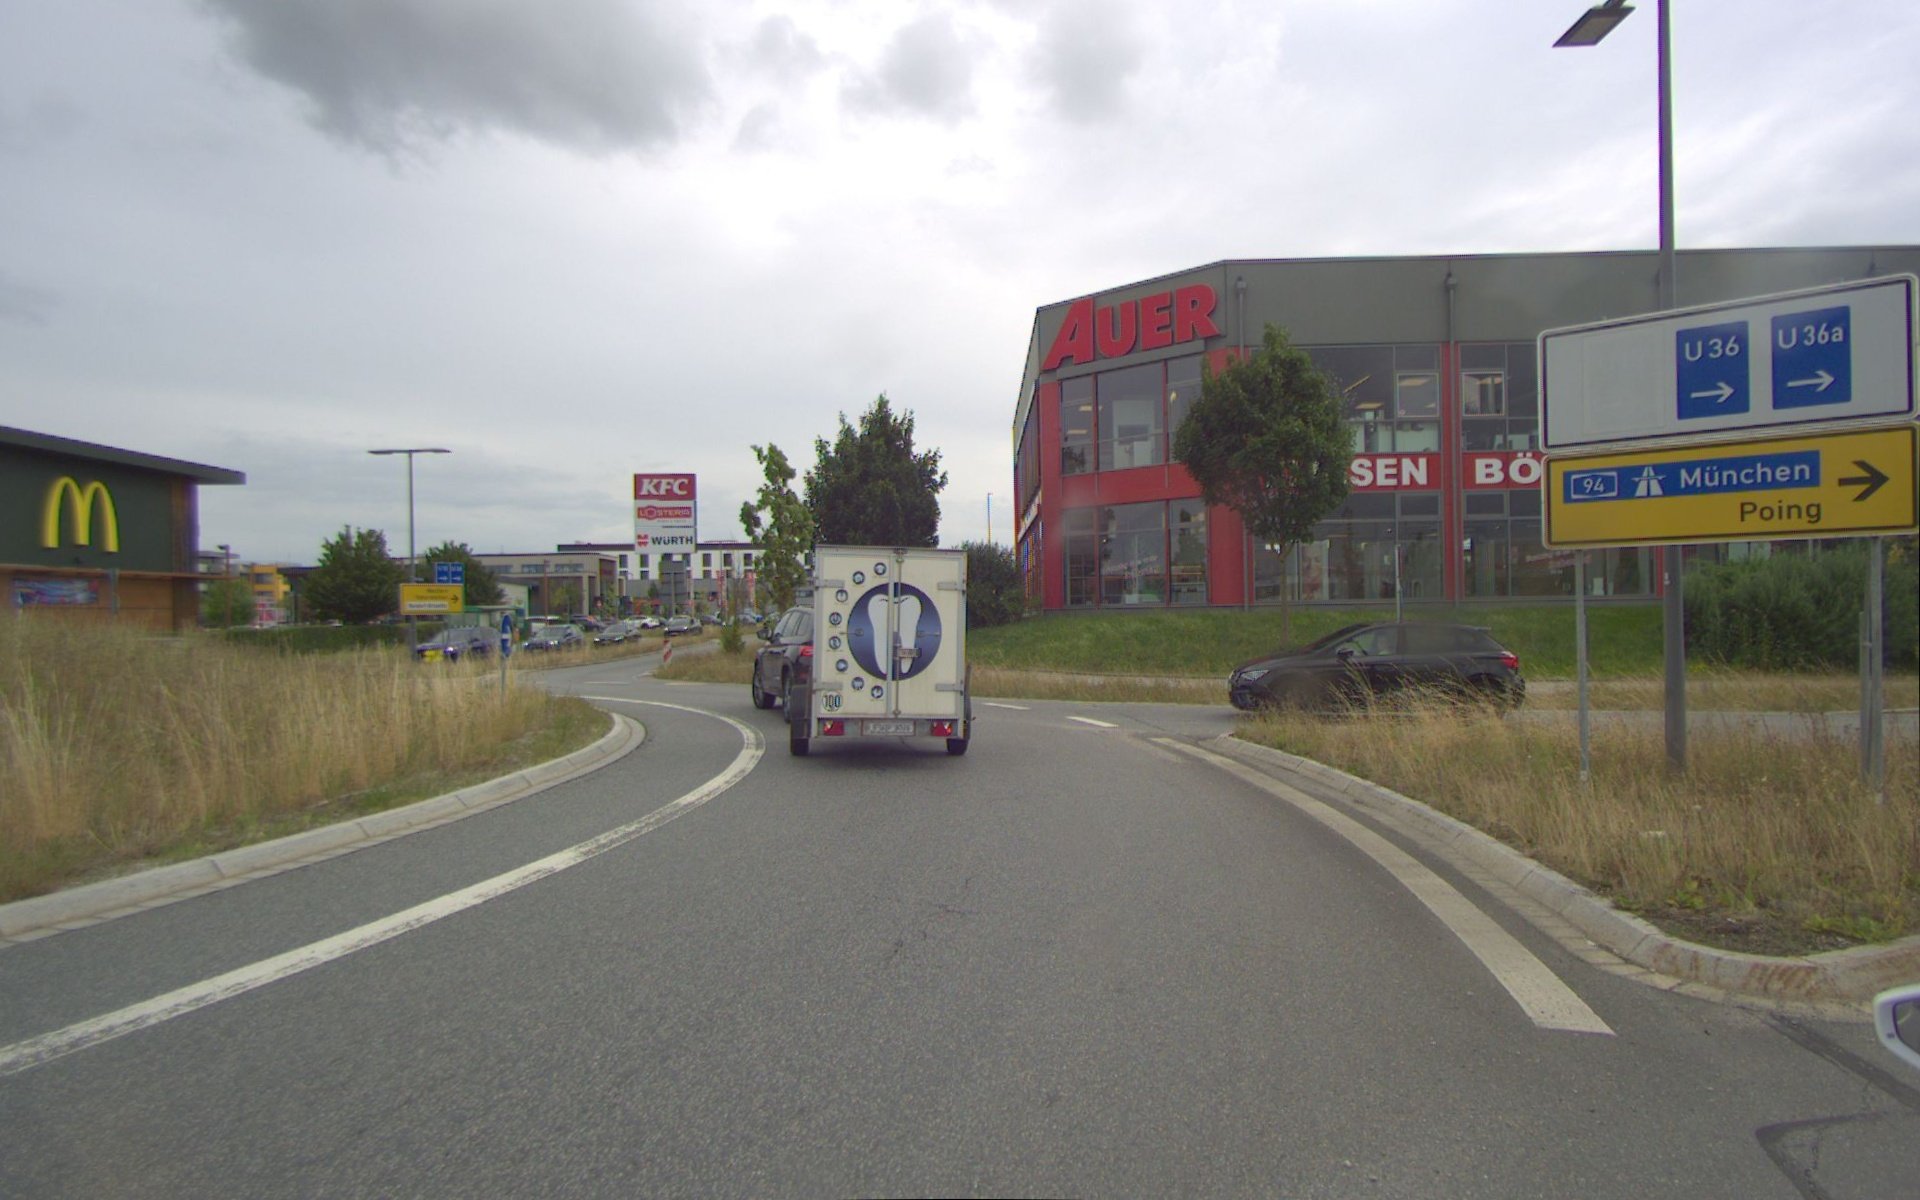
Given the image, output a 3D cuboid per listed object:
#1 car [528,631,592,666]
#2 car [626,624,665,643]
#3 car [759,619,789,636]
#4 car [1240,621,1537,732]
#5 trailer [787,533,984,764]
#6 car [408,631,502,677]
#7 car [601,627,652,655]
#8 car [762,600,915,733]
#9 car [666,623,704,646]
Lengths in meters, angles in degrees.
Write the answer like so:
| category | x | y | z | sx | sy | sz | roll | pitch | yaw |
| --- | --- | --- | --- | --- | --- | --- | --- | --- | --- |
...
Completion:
| category | x | y | z | sx | sy | sz | roll | pitch | yaw |
| --- | --- | --- | --- | --- | --- | --- | --- | --- | --- |
| car | -20.397 | 2.461 | 51.404 | 1.800 | 1.585 | 3.837 | 0 | 0 | -1 |
| car | -34.419 | 3.621 | 109.839 | 3.695 | 2.040 | 1.649 | 0 | 0 | 8 |
| car | -18.607 | 2.739 | 100.770 | 1.960 | 1.655 | 4.002 | 0 | 0 | 4 |
| car | 6.078 | 1.053 | 14.629 | 3.691 | 1.478 | 1.646 | 0 | 0 | 10 |
| trailer | -0.949 | 0.529 | 11.531 | 1.779 | 2.118 | 4.141 | 2 | -2 | -7 |
| car | -20.528 | 2.158 | 41.009 | 1.859 | 1.681 | 4.018 | 0 | 0 | -1 |
| car | -20.446 | 2.488 | 61.763 | 1.904 | 1.617 | 3.771 | 0 | 0 | -1 |
| car | -2.030 | 0.922 | 15.495 | 1.786 | 1.692 | 4.604 | -1 | -1 | -14 |
| car | -20.531 | 2.582 | 75.169 | 1.904 | 1.617 | 3.771 | 0 | 0 | -1 |
